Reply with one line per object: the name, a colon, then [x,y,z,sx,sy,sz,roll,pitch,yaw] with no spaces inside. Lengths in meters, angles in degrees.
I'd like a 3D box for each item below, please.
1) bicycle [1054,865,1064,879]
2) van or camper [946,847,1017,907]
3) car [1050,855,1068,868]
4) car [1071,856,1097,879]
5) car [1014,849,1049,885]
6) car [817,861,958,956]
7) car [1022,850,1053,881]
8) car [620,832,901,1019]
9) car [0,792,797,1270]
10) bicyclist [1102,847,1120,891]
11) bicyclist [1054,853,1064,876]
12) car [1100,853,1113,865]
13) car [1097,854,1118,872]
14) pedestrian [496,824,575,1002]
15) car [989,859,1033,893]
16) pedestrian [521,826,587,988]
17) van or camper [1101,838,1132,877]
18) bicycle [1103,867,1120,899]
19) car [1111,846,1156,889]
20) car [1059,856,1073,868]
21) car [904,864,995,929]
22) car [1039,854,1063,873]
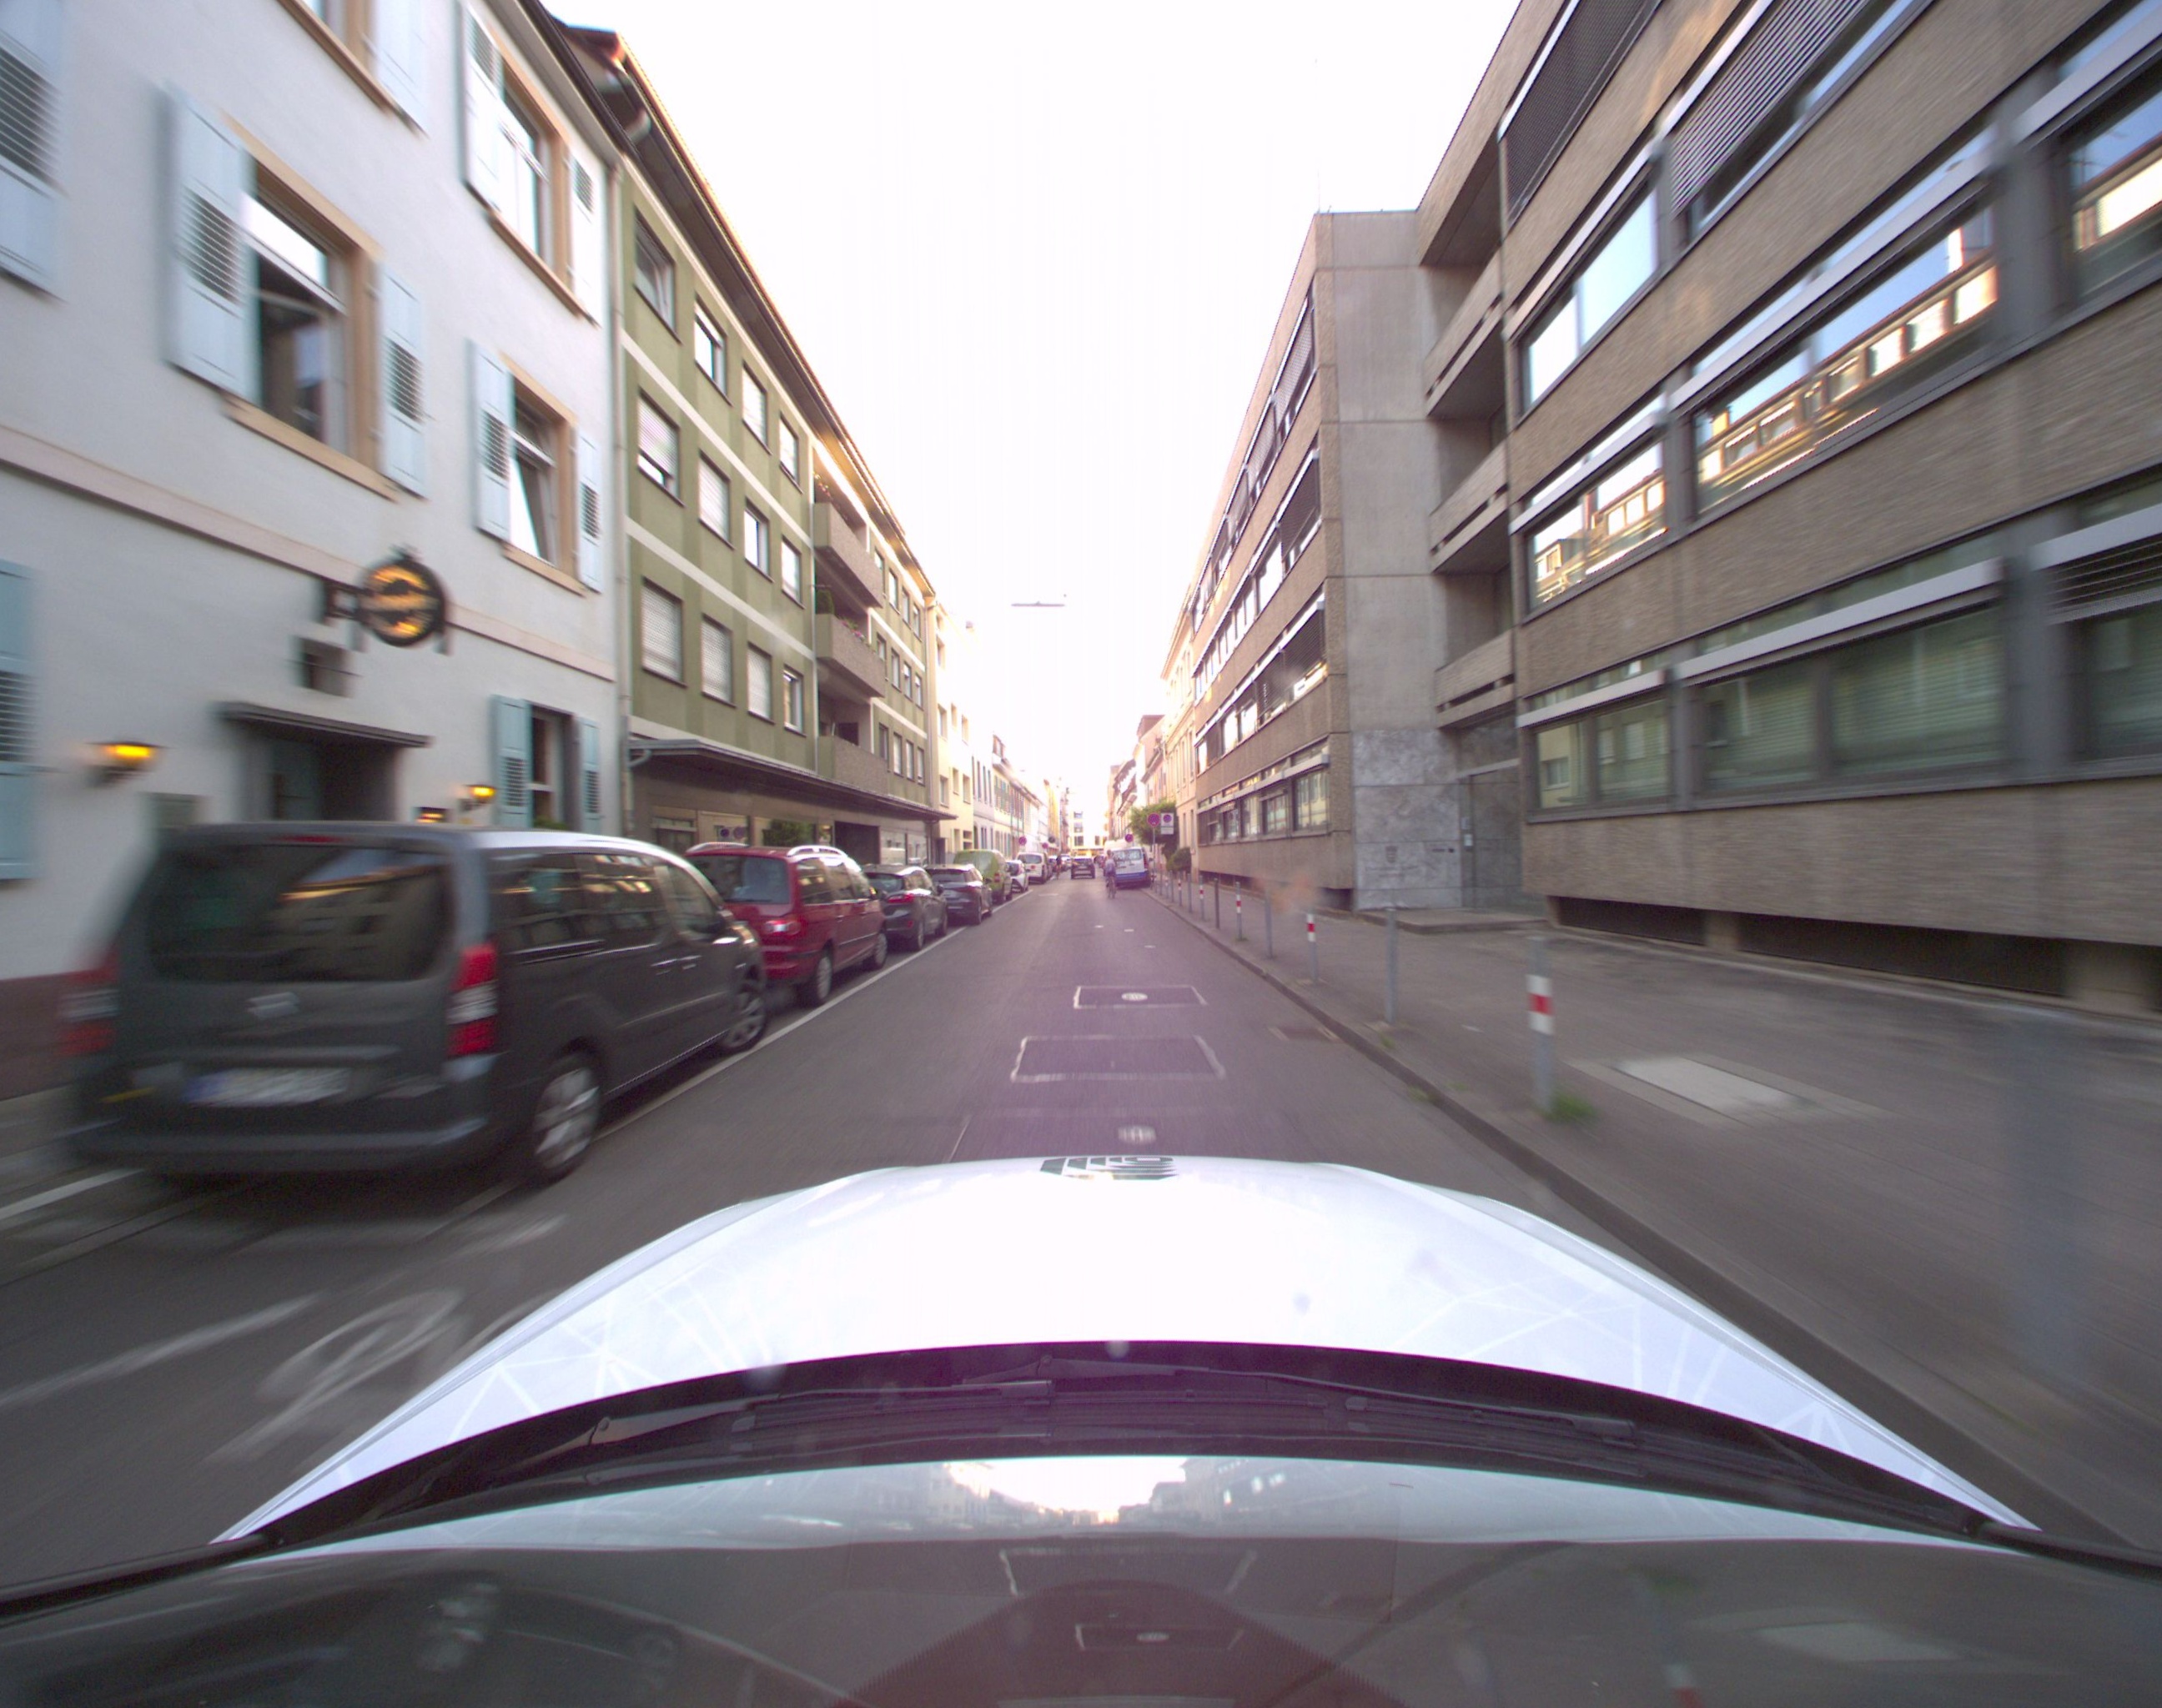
bicycle: [-1.579,1.307,59.111,0.631,0.922,1.779,-1,0,1]
van or camper: [-3.367,0.747,28.313,1.765,1.848,4.180,-2,0,2]
car: [-2.476,0.863,92.198,1.912,1.434,4.292,0,0,-1]
car: [0.220,0.965,58.714,1.813,1.618,4.000,0,0,0]
car: [-3.006,0.769,50.540,1.857,2.013,5.104,-2,0,-1]
car: [-3.468,0.914,15.289,1.618,1.485,3.878,-2,0,1]
car: [-3.025,0.786,57.138,1.857,2.013,4.812,-2,0,-1]
car: [-3.652,0.712,10.275,1.767,1.811,4.509,-1,0,0]
car: [-3.532,0.682,5.375,1.872,1.811,4.447,-1,0,-2]
bicyclist: [1.107,0.552,29.845,0.618,1.574,0.684,-1,-1,2]
bicyclist: [-1.574,0.735,59.057,0.621,1.639,1.081,-1,-1,1]
car: [3.377,0.702,108.925,1.647,1.561,3.606,0,0,1]
car: [2.623,0.885,79.160,1.812,1.530,5.074,-5,-1,2]
pedestrian: [-5.527,0.580,8.266,0.447,1.750,0.470,-1,-1,2]
car: [-3.165,0.993,37.537,1.656,1.449,3.520,2,0,0]
pedestrian: [-5.863,0.578,9.074,0.404,1.750,0.470,-1,-1,2]
van or camper: [2.564,0.247,59.236,2.042,2.637,7.065,-2,0,2]
bicycle: [1.115,1.047,29.812,0.611,1.082,1.810,-1,0,2]
car: [2.574,0.607,39.237,1.927,1.898,5.283,-2,0,5]
car: [-2.015,1.083,108.772,1.647,1.561,3.606,0,0,1]
car: [-3.163,0.976,20.258,1.619,1.416,3.979,-1,0,-1]
car: [-2.738,0.841,74.500,1.796,1.676,4.492,-2,0,2]
